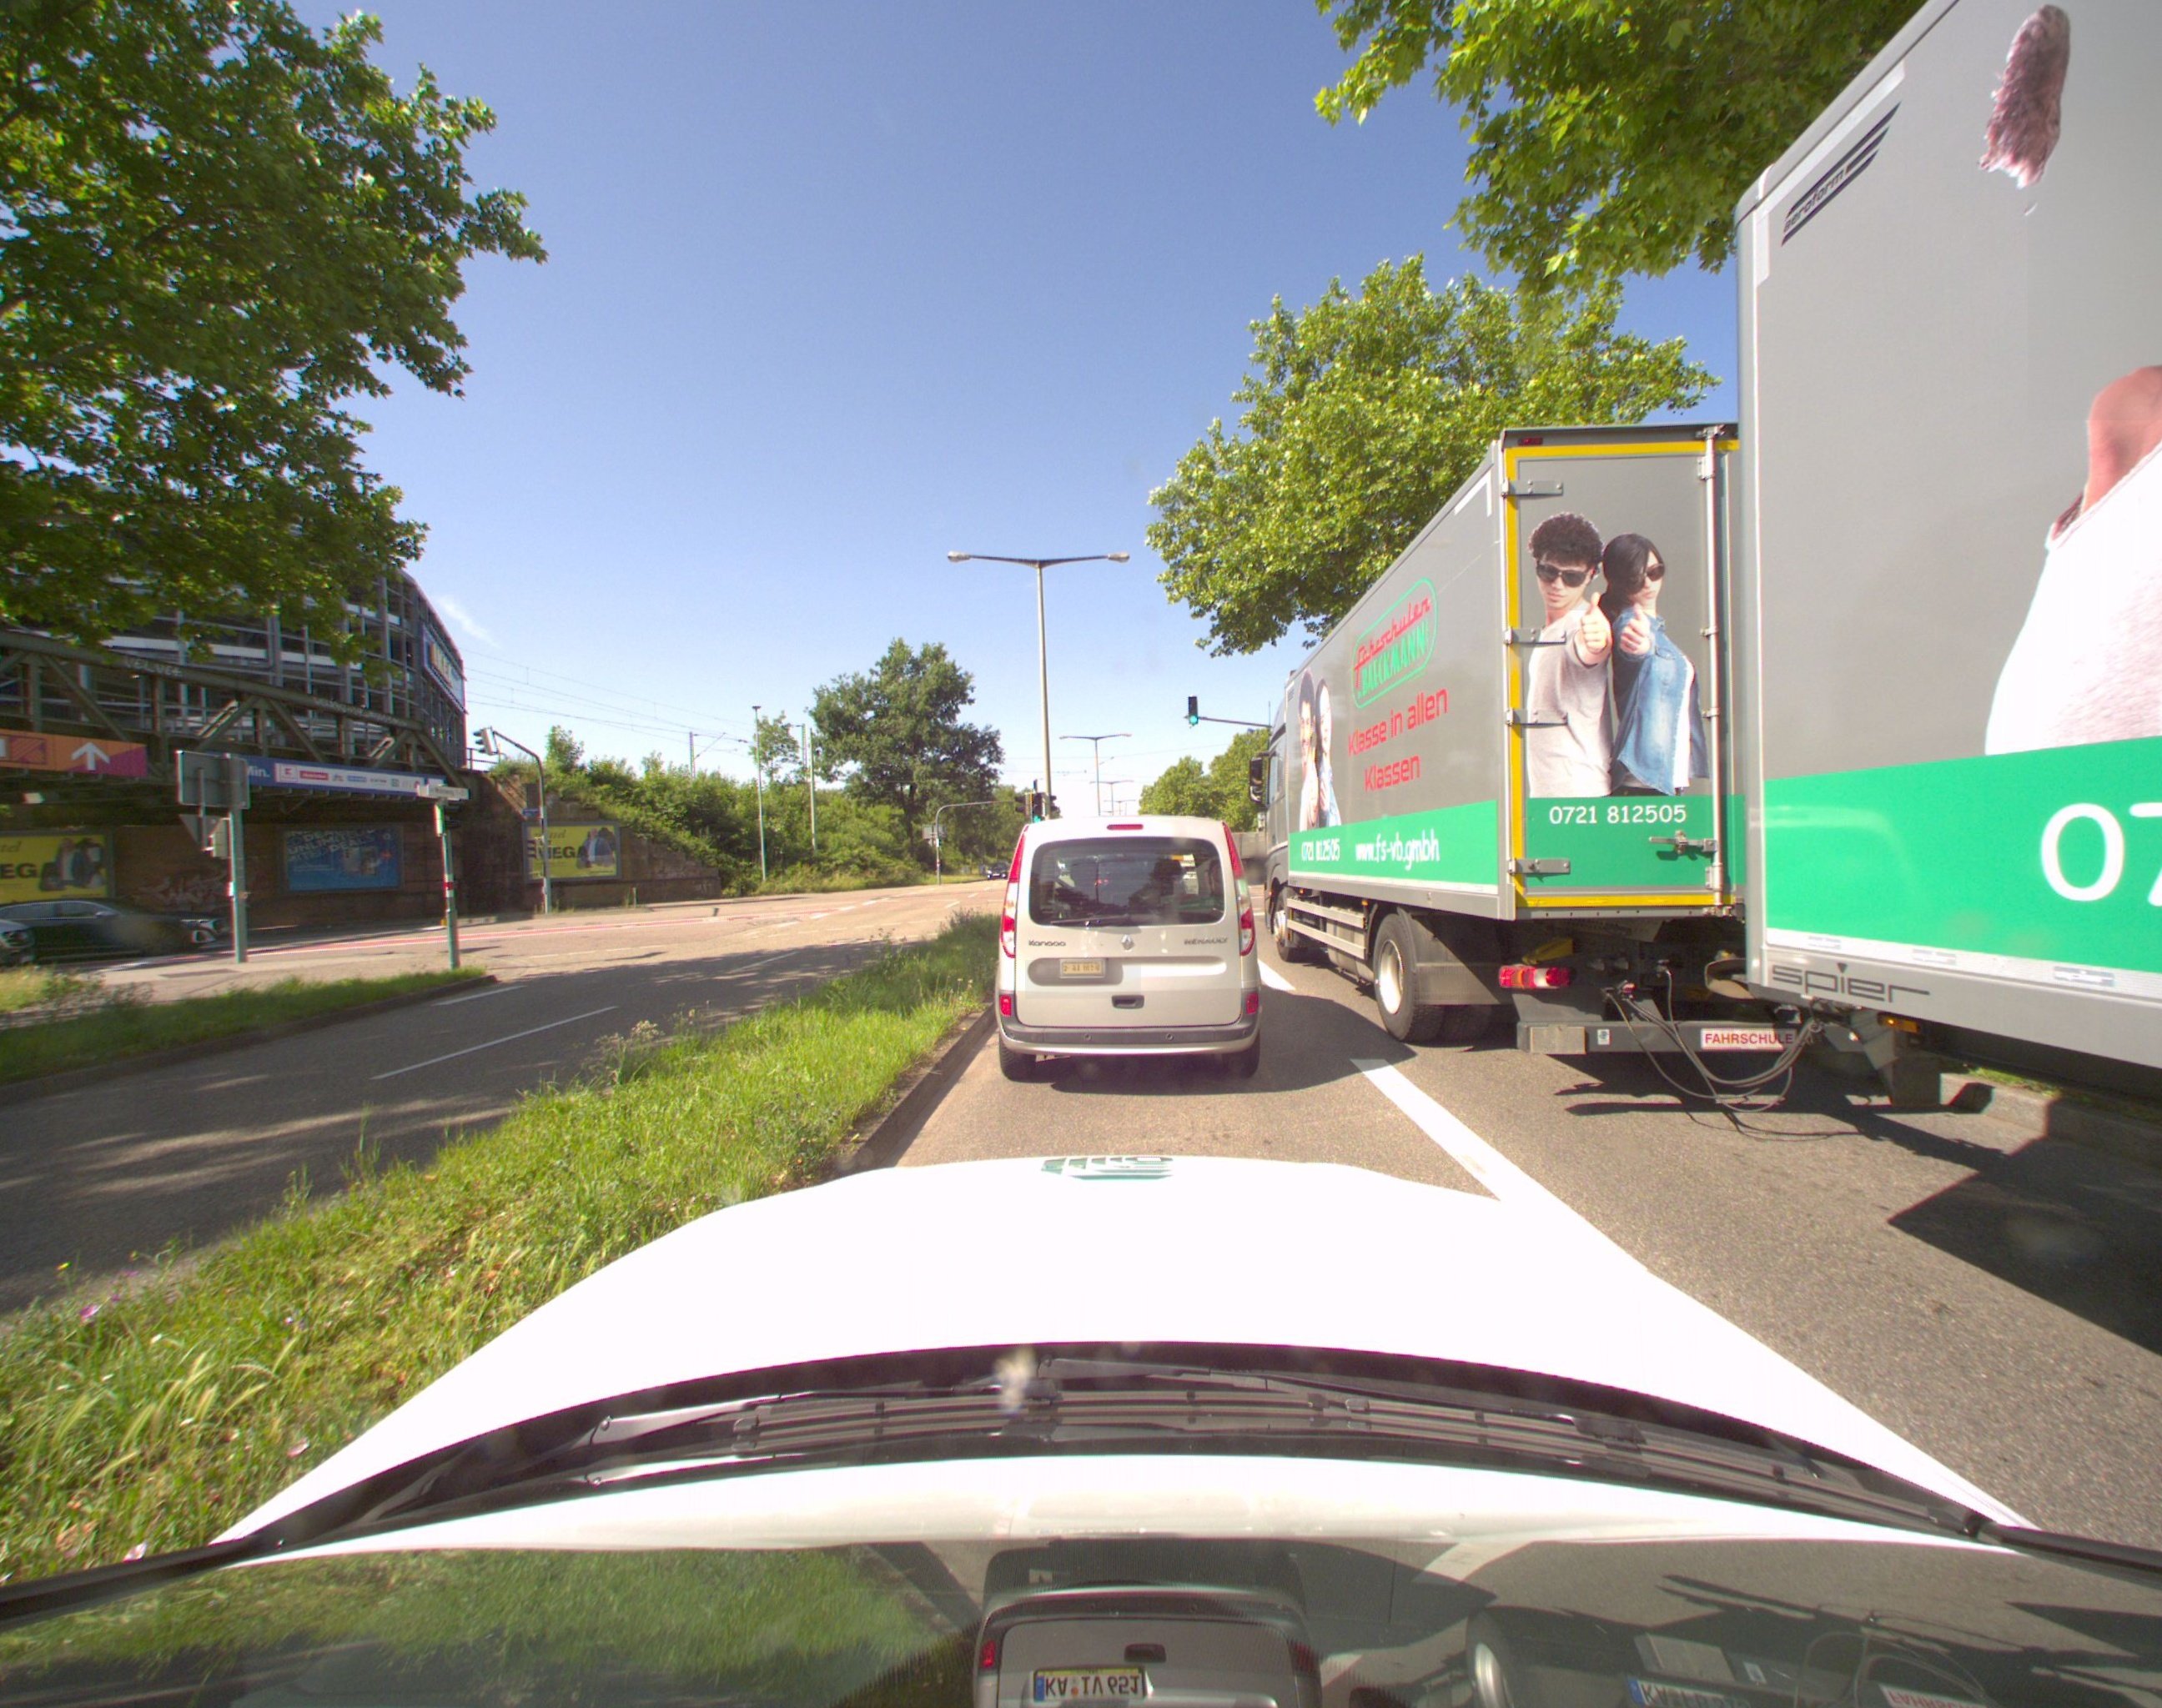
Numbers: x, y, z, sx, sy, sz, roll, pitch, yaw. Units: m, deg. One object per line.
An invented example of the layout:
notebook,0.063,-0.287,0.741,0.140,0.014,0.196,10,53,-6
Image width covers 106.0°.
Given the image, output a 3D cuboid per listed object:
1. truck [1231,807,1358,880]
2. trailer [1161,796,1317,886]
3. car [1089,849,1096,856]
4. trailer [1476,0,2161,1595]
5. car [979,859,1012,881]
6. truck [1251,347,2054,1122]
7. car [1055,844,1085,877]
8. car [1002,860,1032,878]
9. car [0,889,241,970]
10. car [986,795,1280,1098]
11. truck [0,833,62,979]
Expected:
truck,11.668,-0.511,44.237,7.224,3.643,2.886,0,-1,-38
trailer,7.986,-0.498,38.765,2.872,3.622,12.765,-1,-1,32
car,3.485,-0.404,254.435,1.880,2.014,4.004,-1,-1,4
trailer,3.216,-0.622,0.263,2.724,3.877,7.743,-2,-1,4
car,-6.846,1.240,65.411,1.902,1.641,3.742,-3,-1,5
truck,3.793,-0.555,8.543,2.717,3.889,8.732,-2,-1,4
car,-0.911,0.564,69.632,1.984,2.607,5.140,-3,-1,5
car,-5.880,1.380,75.212,1.984,1.540,4.241,-3,-1,5
car,-25.781,1.954,21.907,4.015,1.646,1.885,-4,1,-32
car,0.379,0.582,6.974,1.779,1.838,4.001,0,-1,2
truck,-26.341,1.306,16.320,6.890,3.105,2.196,-4,1,-32
